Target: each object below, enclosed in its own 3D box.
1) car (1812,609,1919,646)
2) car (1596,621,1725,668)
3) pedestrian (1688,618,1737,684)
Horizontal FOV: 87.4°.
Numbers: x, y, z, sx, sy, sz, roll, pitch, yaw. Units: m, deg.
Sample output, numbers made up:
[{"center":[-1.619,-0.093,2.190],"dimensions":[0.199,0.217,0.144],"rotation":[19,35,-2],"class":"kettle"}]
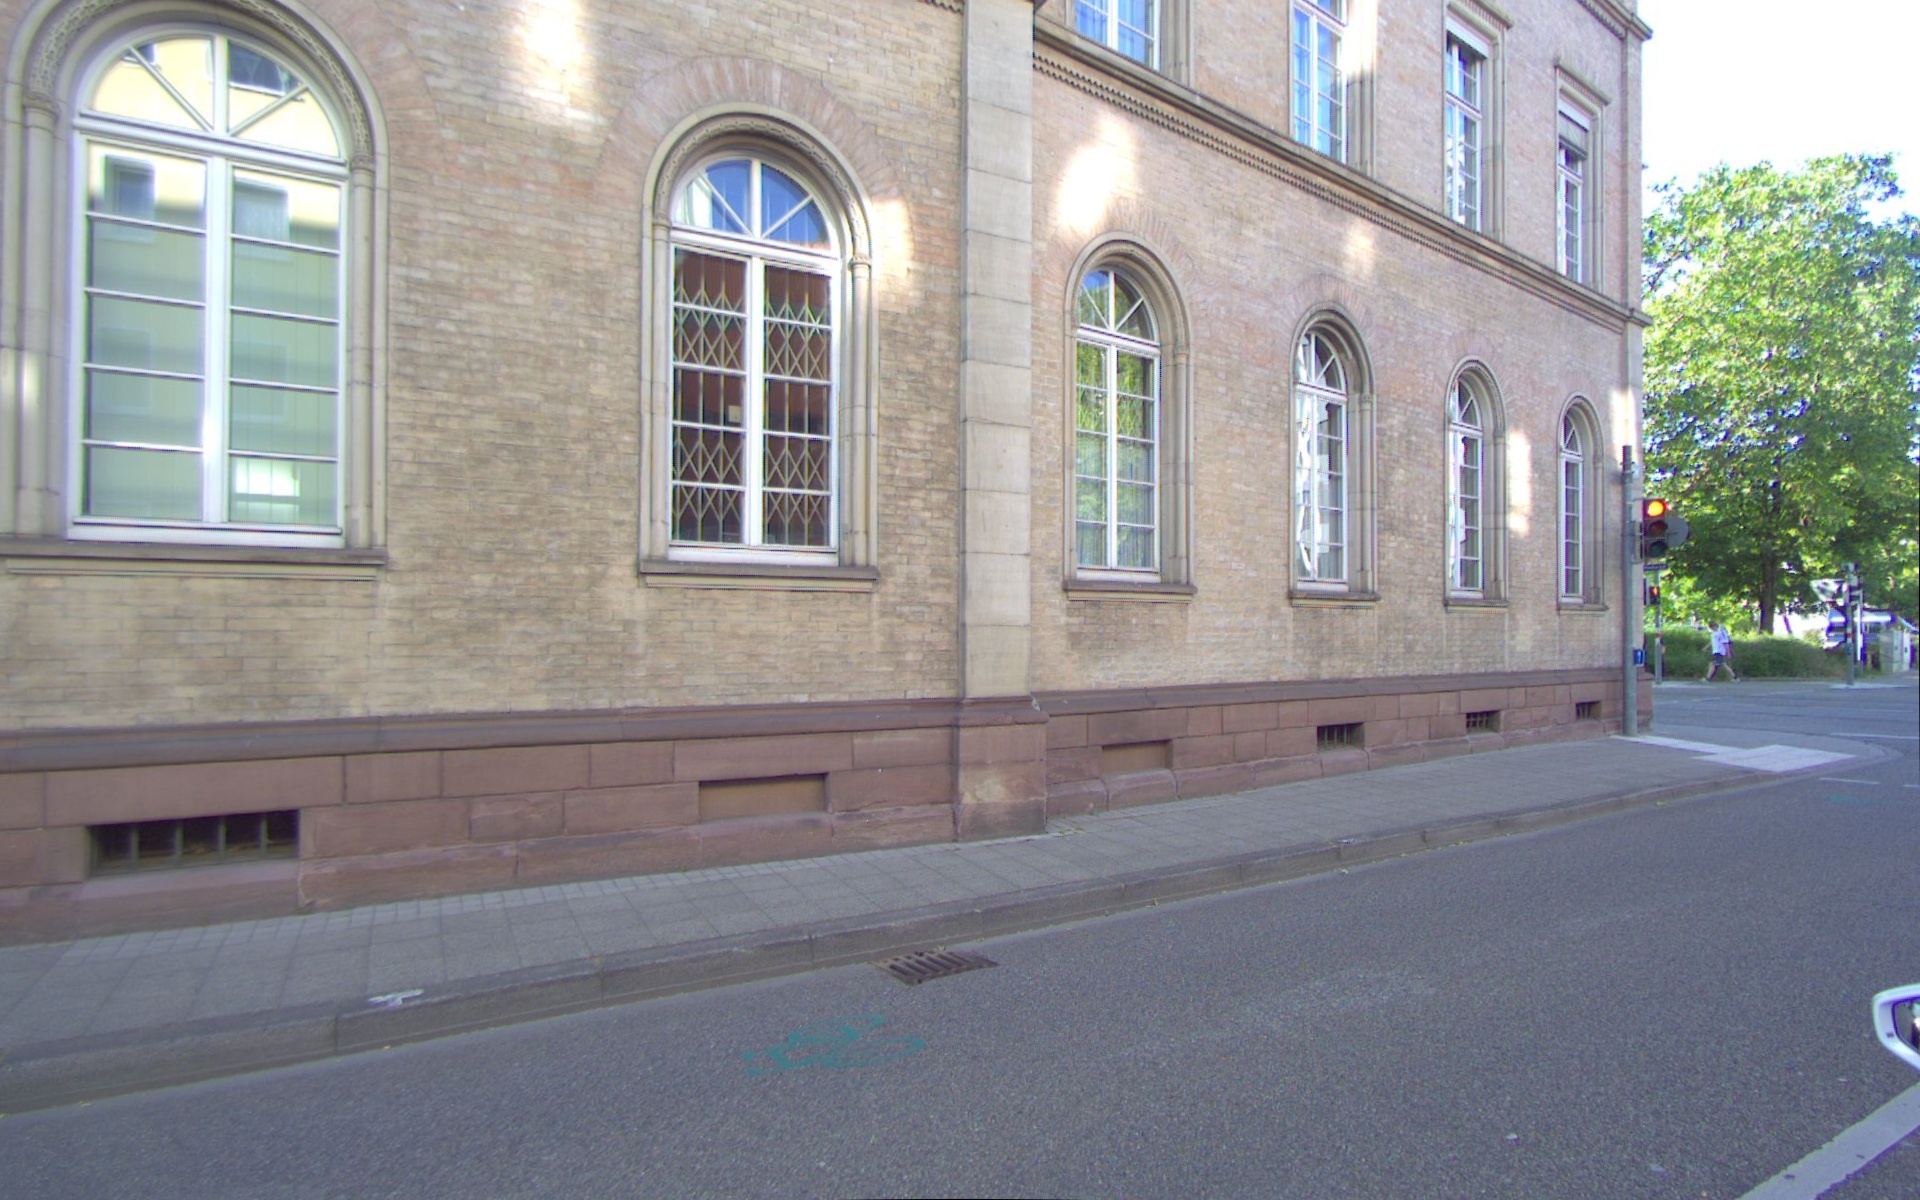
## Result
[{"center":[53.506,1.609,59.397],"dimensions":[1.983,2.040,4.409],"rotation":[2,0,-38],"class":"car"},{"center":[24.385,1.521,35.034],"dimensions":[1.636,1.476,3.382],"rotation":[2,0,-39],"class":"car"},{"center":[22.470,1.507,29.996],"dimensions":[0.898,1.893,0.743],"rotation":[2,0,13],"class":"pedestrian"}]
